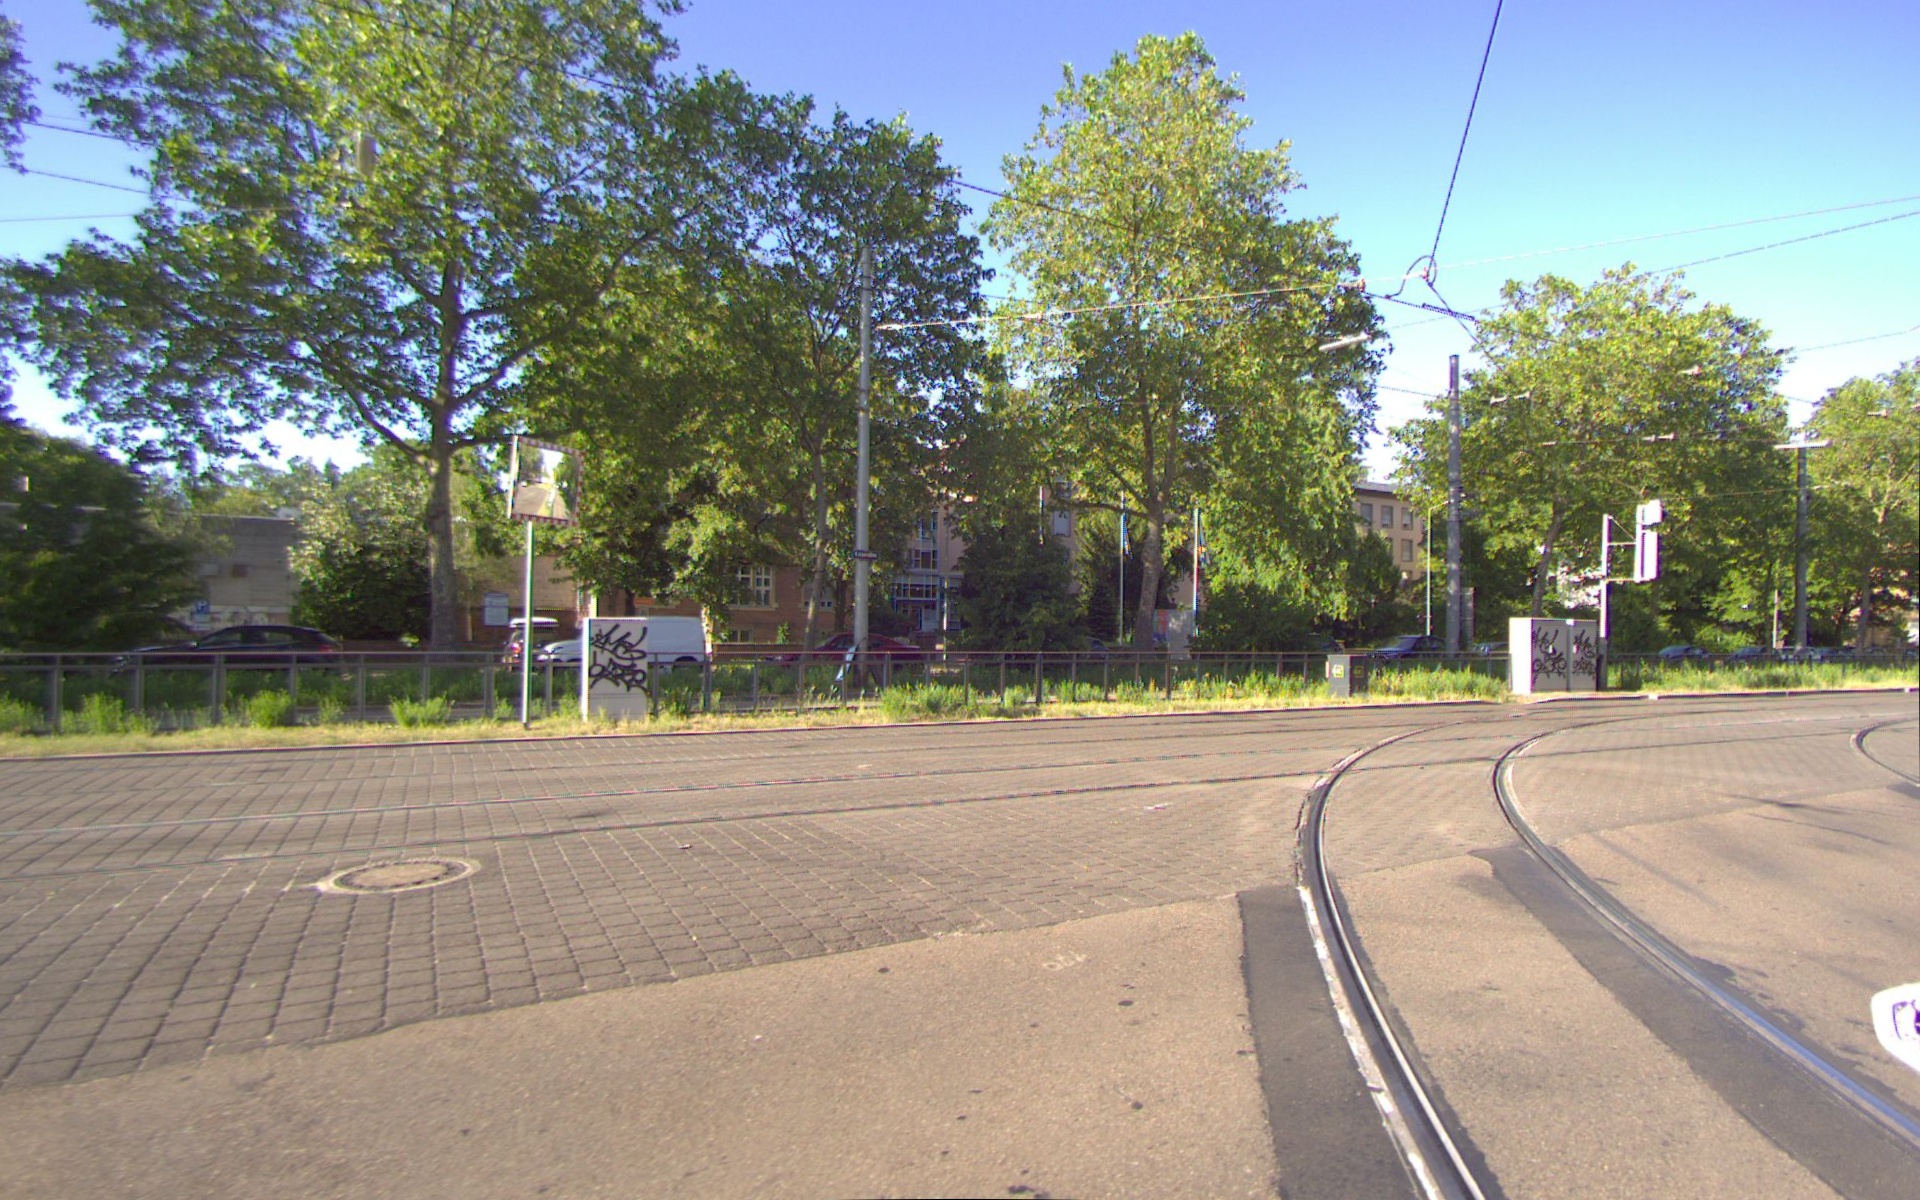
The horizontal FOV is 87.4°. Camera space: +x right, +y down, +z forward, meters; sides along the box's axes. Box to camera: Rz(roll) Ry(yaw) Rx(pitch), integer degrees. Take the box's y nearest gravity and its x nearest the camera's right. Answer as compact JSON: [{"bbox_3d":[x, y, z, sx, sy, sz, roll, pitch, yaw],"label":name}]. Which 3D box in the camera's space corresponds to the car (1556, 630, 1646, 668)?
[{"bbox_3d":[32.117,2.427,50.306,4.462,1.706,1.983,1,1,-31],"label":"car"}]

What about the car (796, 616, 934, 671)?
[{"bbox_3d":[-2.819,1.282,29.863,3.769,1.491,1.587,1,1,-25],"label":"car"}]

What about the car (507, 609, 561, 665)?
[{"bbox_3d":[-14.888,1.249,34.997,1.593,1.841,3.926,1,-1,-25],"label":"car"}]

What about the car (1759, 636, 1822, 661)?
[{"bbox_3d":[47.544,2.747,57.513,3.460,1.330,1.561,1,1,-28],"label":"car"}]

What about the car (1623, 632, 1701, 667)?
[{"bbox_3d":[36.960,2.561,52.864,3.952,1.706,1.813,1,1,-30],"label":"car"}]

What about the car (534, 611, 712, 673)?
[{"bbox_3d":[-9.005,1.090,26.895,4.291,1.491,1.734,1,1,-28],"label":"car"}]

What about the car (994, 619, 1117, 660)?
[{"bbox_3d":[3.113,1.278,32.601,3.715,1.237,1.614,1,-1,-28],"label":"car"}]

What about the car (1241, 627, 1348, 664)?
[{"bbox_3d":[12.791,1.745,38.354,3.975,1.239,1.588,2,0,-29],"label":"car"}]
